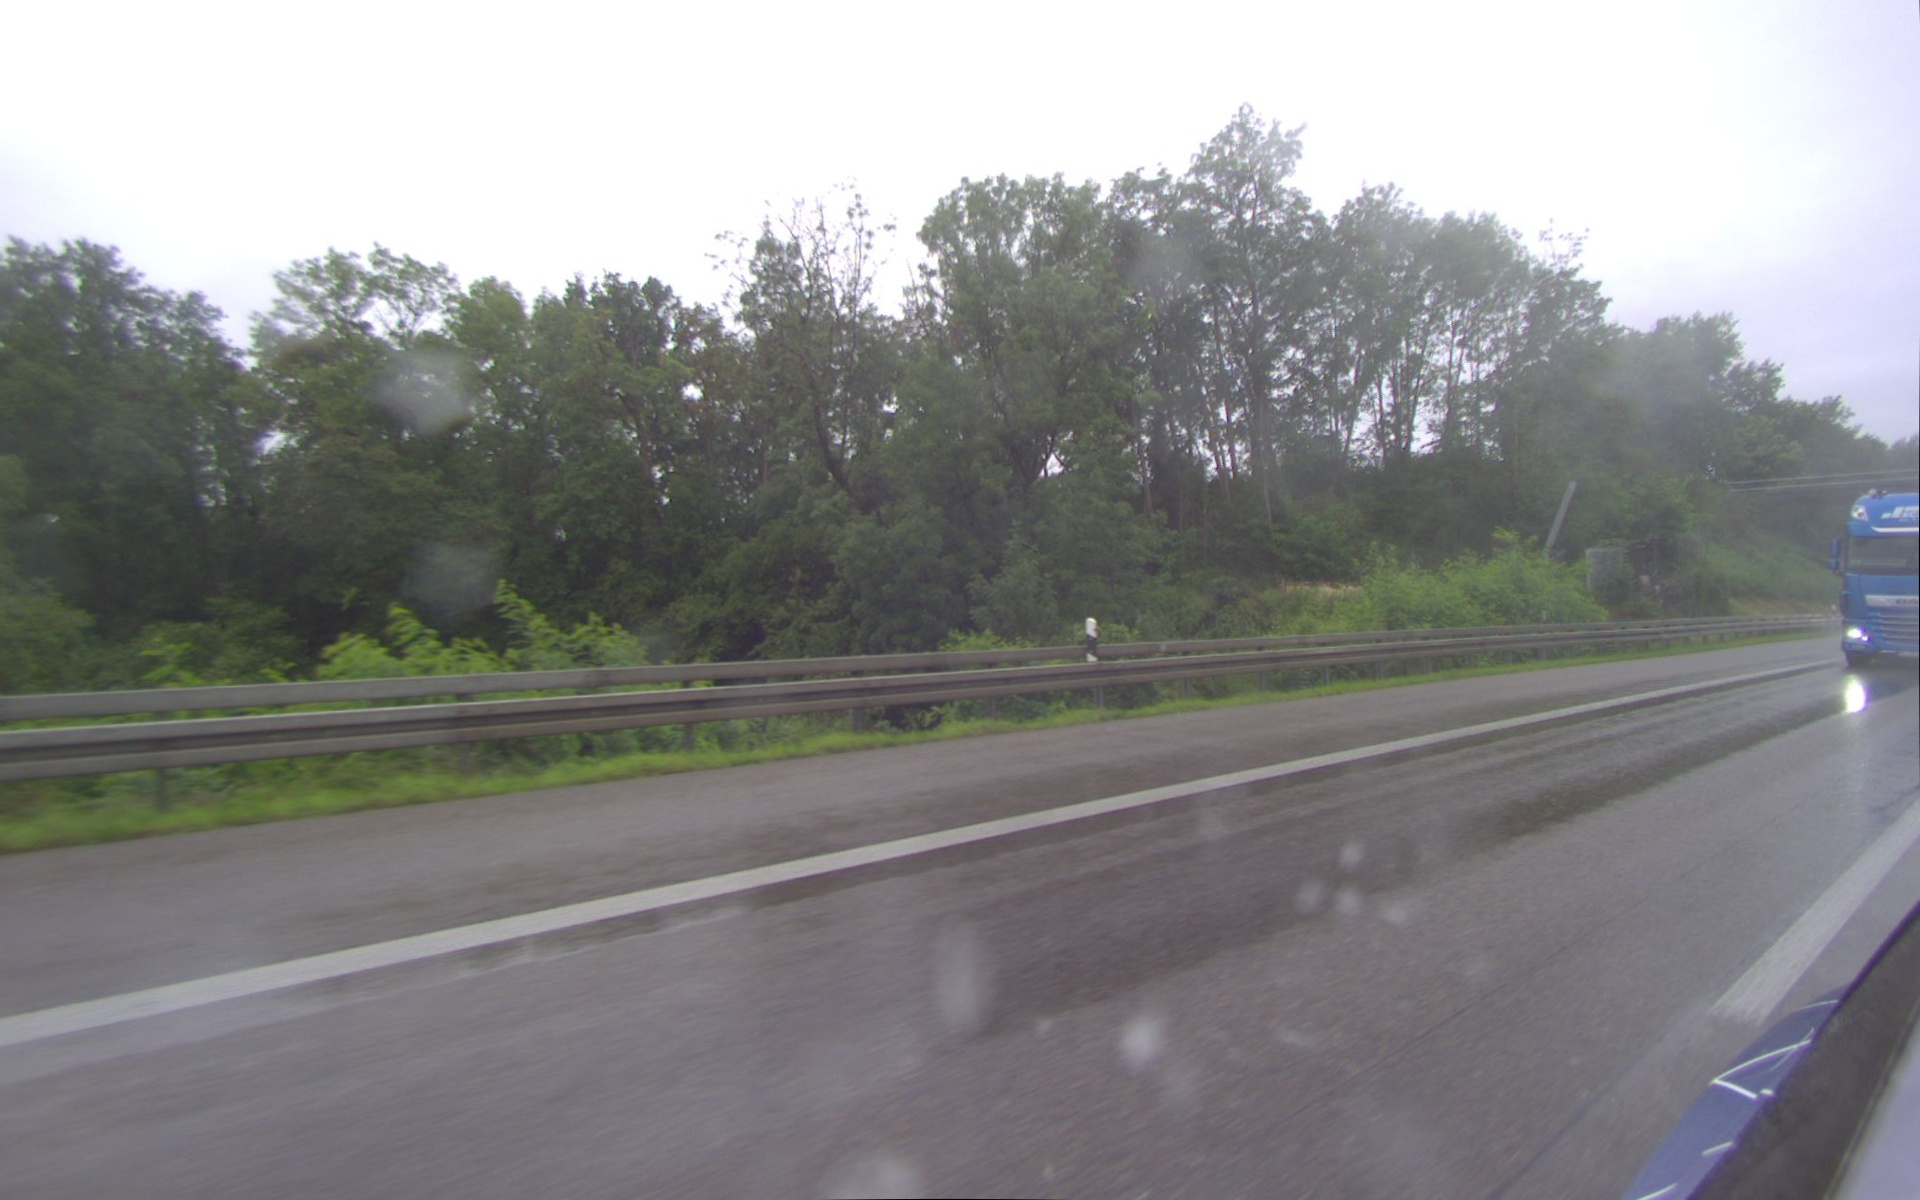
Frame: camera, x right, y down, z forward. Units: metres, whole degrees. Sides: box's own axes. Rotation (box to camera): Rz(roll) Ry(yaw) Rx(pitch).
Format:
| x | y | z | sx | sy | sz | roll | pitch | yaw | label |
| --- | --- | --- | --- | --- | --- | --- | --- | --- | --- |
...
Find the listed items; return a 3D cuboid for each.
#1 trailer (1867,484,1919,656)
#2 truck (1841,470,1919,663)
| x | y | z | sx | sy | sz | roll | pitch | yaw | label |
| --- | --- | --- | --- | --- | --- | --- | --- | --- | --- |
| 28.049 | -0.789 | 27.645 | 13.876 | 4.014 | 2.750 | -1 | 0 | -39 | trailer |
| 22.998 | -0.751 | 23.562 | 6.367 | 4.129 | 2.754 | -1 | 1 | -39 | truck |
